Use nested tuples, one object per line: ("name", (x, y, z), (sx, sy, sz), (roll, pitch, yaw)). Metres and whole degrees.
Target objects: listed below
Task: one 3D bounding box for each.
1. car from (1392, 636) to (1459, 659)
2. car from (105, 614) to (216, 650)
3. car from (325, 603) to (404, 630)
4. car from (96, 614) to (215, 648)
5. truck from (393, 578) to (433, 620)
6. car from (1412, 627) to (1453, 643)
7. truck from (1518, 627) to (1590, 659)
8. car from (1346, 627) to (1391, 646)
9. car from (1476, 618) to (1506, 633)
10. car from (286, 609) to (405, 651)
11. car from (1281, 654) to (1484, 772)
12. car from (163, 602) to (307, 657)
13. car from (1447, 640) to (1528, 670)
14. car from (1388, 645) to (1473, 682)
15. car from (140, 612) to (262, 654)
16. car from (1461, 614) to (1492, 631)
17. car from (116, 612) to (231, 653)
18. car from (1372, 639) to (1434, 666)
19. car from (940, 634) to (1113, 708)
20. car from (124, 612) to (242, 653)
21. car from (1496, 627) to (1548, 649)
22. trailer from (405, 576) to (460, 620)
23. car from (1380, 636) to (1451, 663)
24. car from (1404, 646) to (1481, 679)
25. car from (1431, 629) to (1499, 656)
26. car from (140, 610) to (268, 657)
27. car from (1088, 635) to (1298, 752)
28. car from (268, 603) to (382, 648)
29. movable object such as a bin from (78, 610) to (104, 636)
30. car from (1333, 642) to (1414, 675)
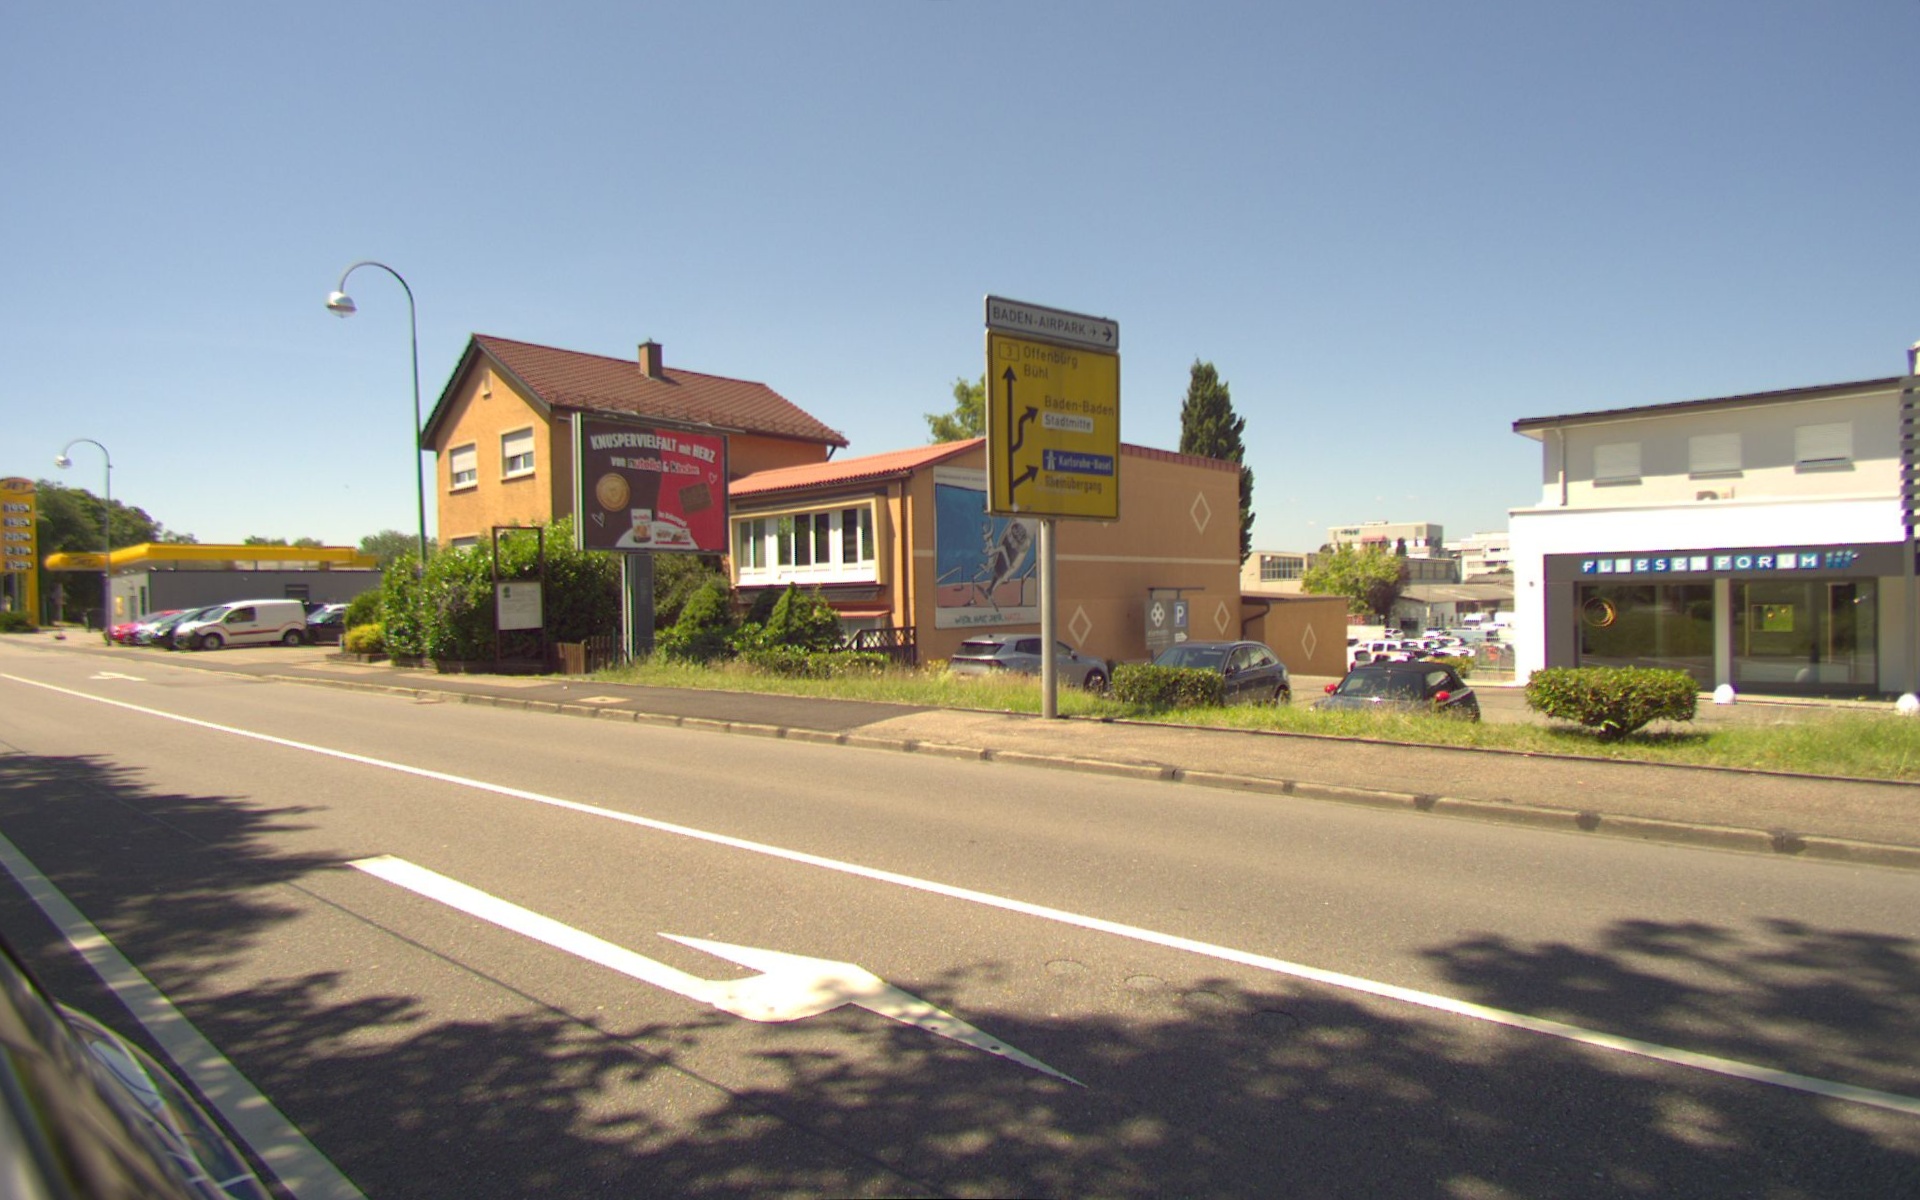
("car", (33.195, 3.346, 72.224), (3.998, 1.486, 1.733), (0, 0, 41))
("car", (-36.128, 1.403, 45.802), (1.890, 1.468, 3.628), (0, 0, 38))
("car", (-37.029, 1.016, 62.992), (1.754, 1.596, 3.944), (0, 0, 42))
("car", (-37.625, 1.410, 47.394), (1.825, 1.455, 4.084), (0, 0, 40))
("truck", (-44.328, -0.047, 82.024), (3.188, 3.267, 1.826), (-2, -1, 41))
("car", (44.824, 3.314, 96.024), (3.125, 1.395, 1.663), (0, 0, 41))
("truck", (40.203, 2.858, 68.490), (3.982, 1.992, 1.663), (0, 1, 41))
("car", (34.015, 3.001, 84.277), (3.220, 1.488, 1.350), (0, 0, 41))
("car", (59.620, 2.795, 113.529), (2.000, 1.608, 3.943), (-1, -1, 43))
("car", (-26.188, 1.235, 43.241), (1.828, 1.580, 3.948), (-1, 1, 39))
("car", (6.581, 1.639, 15.617), (1.781, 1.434, 3.300), (-1, -1, 45))
("car", (-27.548, 1.065, 38.557), (1.996, 1.912, 4.057), (0, 0, 36))
("car", (31.447, 3.247, 60.351), (3.998, 1.648, 1.824), (-1, -1, 41))
("car", (25.064, 3.329, 53.984), (3.816, 1.740, 1.729), (0, 0, 41))
("car", (-30.933, 1.297, 41.308), (1.920, 1.543, 3.628), (0, 0, 38))
("car", (61.101, 2.655, 119.724), (3.939, 1.843, 2.002), (-1, 0, -43))
("car", (-34.222, 1.375, 44.073), (1.879, 1.617, 3.628), (0, 0, 38))
("car", (28.174, 3.341, 64.458), (3.320, 1.558, 1.509), (0, 0, 41))
("car", (1.612, 1.584, 23.584), (3.979, 1.462, 1.781), (0, -1, -43))
("car", (-32.744, 1.336, 42.709), (1.920, 1.593, 3.628), (0, 0, 38))
("car", (42.172, 2.856, 75.933), (3.125, 1.545, 1.663), (0, 0, 41))
("trailer", (-41.469, -0.117, 79.492), (5.911, 3.244, 1.845), (-1, -1, 41))
("car", (30.752, 3.340, 68.377), (3.998, 1.617, 1.813), (0, 0, 41))
("car", (26.275, 3.388, 55.161), (3.466, 1.604, 1.702), (0, 0, 41))
("car", (36.478, 3.063, 73.148), (3.998, 1.829, 1.973), (-1, -1, 41))
("car", (-29.472, 1.244, 39.519), (1.920, 1.685, 3.628), (0, 0, 38))
("car", (4.349, 1.571, 18.456), (1.895, 1.699, 4.285), (0, 0, 42))
("car", (-28.032, 1.088, 44.762), (1.998, 1.875, 3.864), (-1, -1, 39))
("movable object such as a bin", (-54.592, 1.469, 63.554), (1.427, 1.528, 0.942), (-3, 3, 42))
("car", (23.978, 3.354, 58.761), (3.998, 1.665, 1.725), (0, 0, 41))
